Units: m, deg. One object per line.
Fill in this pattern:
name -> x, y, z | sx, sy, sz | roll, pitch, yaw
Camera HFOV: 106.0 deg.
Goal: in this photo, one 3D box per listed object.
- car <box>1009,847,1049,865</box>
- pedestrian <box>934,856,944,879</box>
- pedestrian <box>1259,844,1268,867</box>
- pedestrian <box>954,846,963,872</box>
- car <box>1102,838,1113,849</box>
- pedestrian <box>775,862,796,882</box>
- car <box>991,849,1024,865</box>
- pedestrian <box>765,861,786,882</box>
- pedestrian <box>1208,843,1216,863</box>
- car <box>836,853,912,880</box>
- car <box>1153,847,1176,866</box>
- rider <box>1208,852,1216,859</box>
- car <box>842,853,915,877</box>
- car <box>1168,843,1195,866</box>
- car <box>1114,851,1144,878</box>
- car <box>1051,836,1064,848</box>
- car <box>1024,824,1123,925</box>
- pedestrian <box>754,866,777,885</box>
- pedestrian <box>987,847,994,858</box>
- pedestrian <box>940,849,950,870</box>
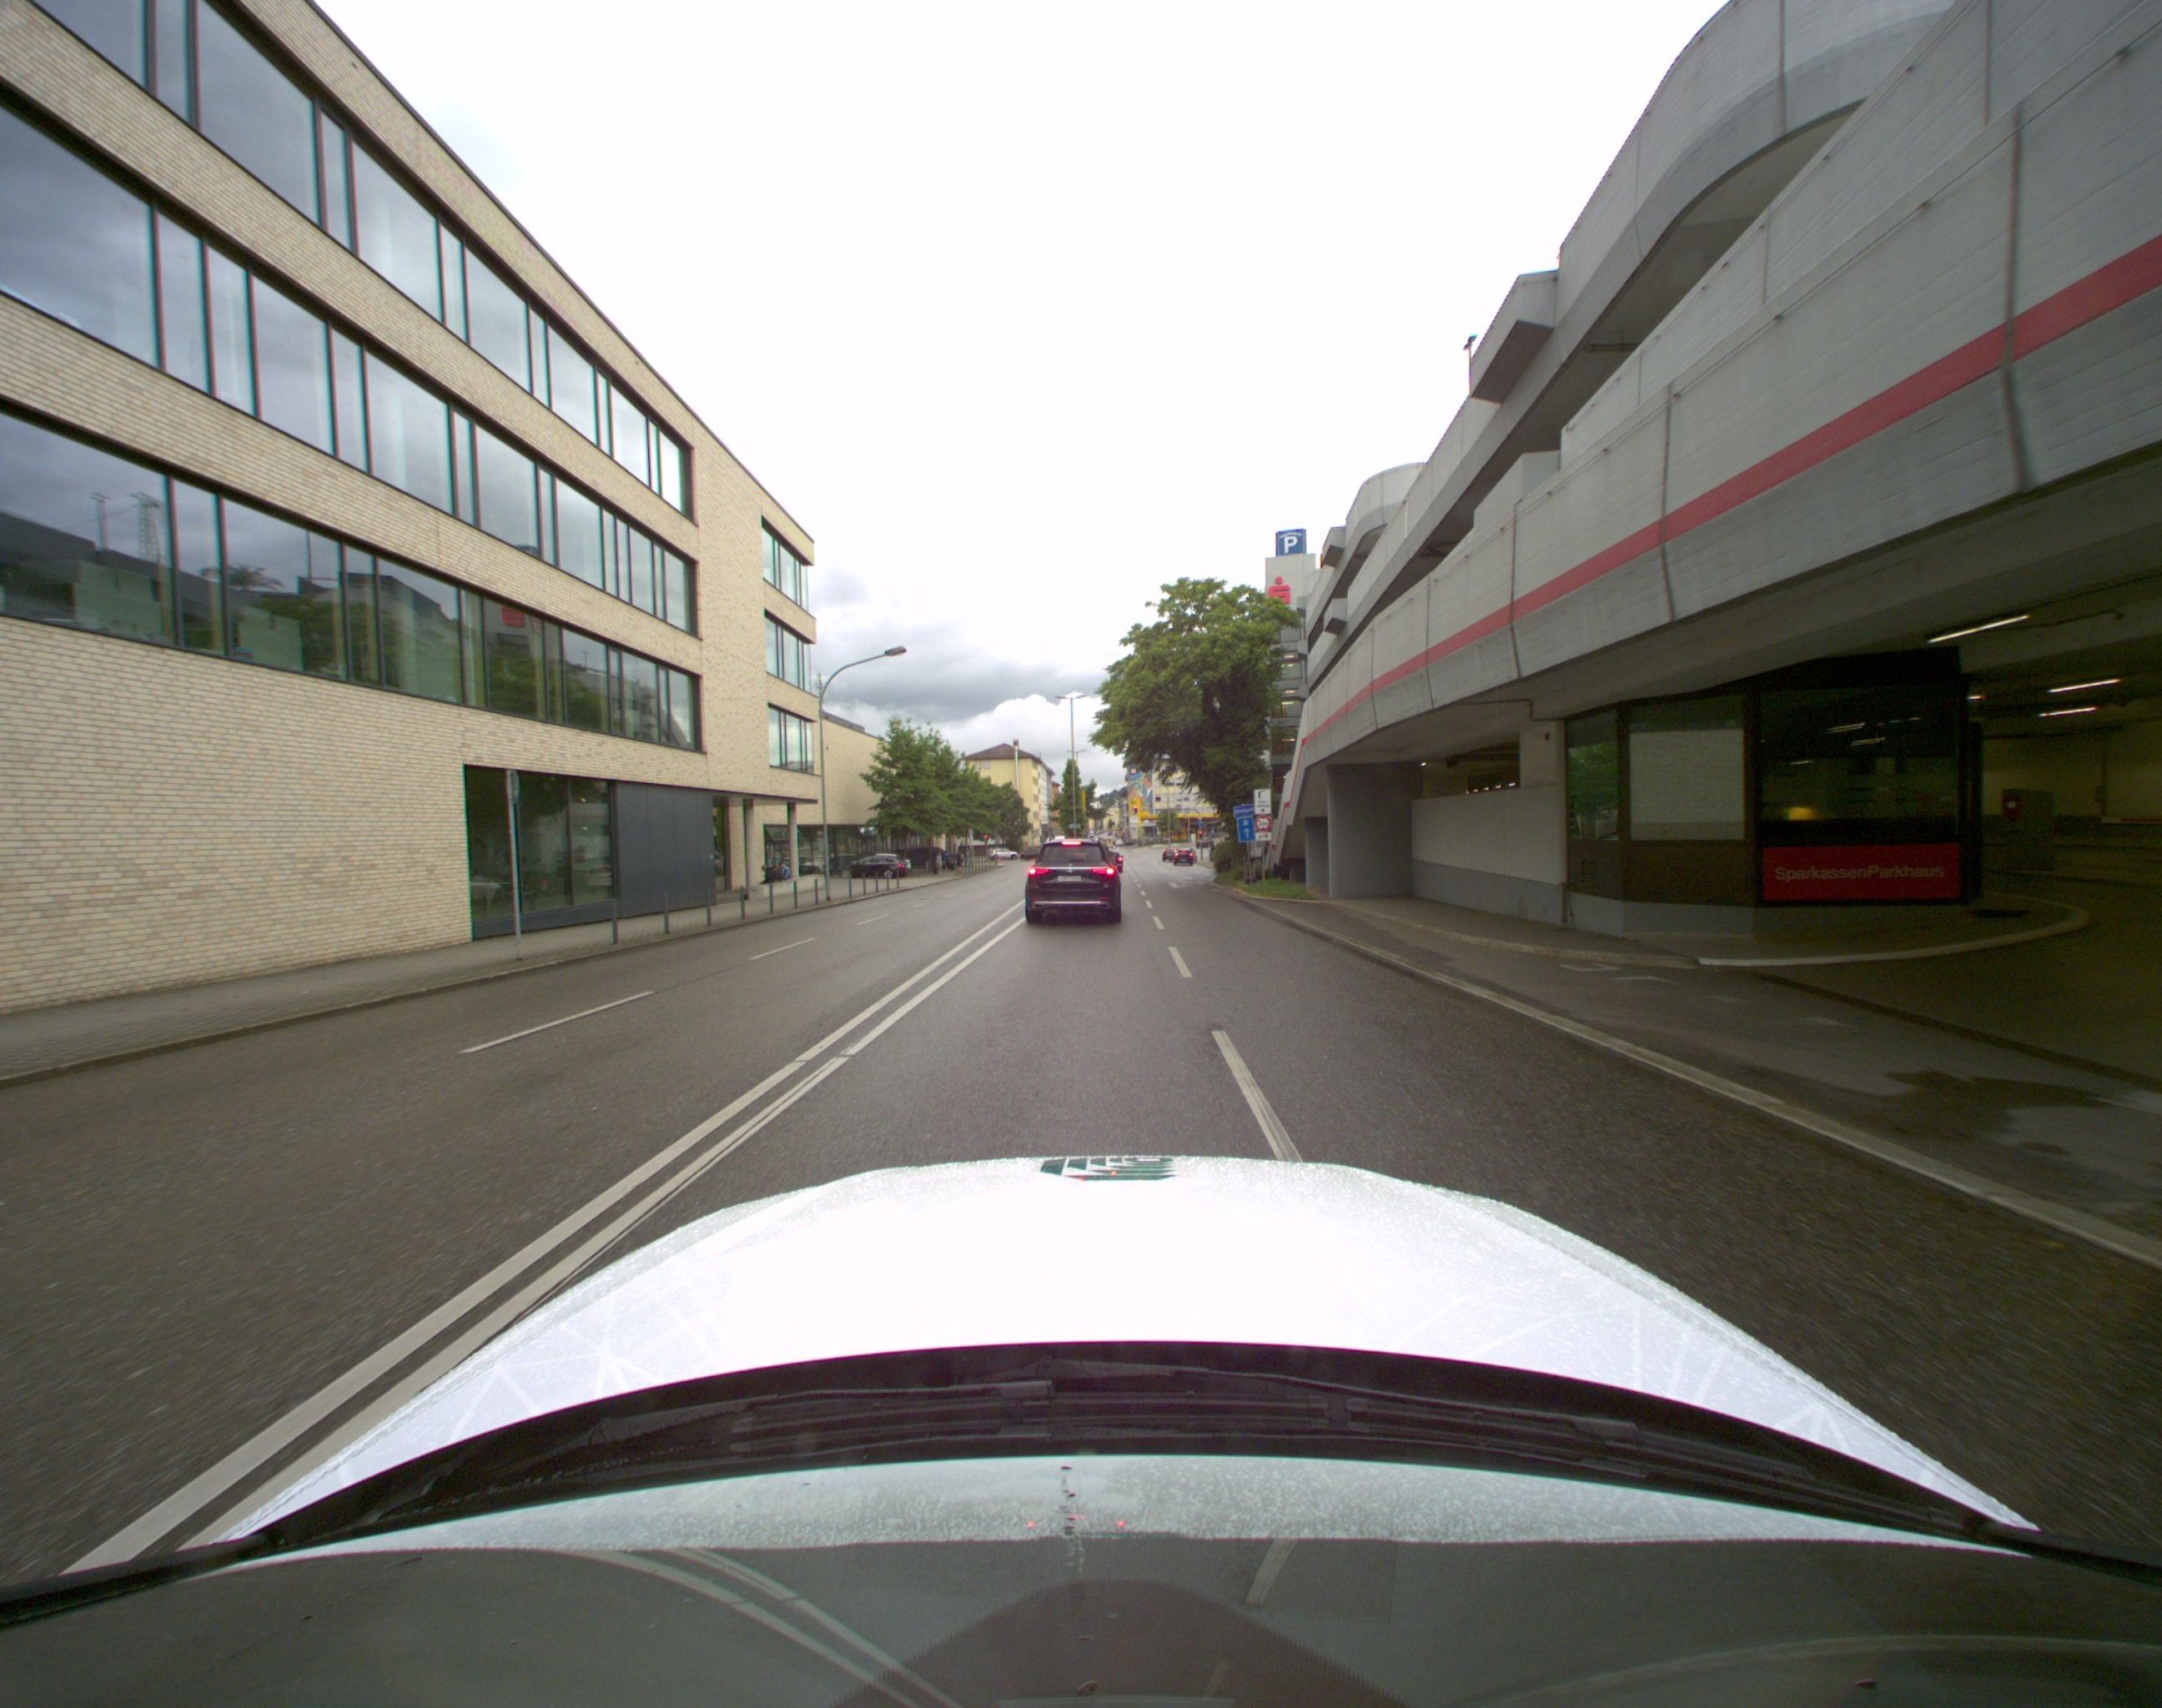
car -> -6.349, 0.264, 99.189 | 4.798, 2.013, 1.996 | -1, 1, -6
pedestrian -> -10.642, 1.005, 60.966 | 0.673, 1.697, 0.479 | 1, 0, 1
pedestrian -> 12.273, 0.096, 54.686 | 0.548, 1.532, 0.489 | 0, -1, 8
pedestrian -> -9.533, 0.405, 63.429 | 0.586, 2.014, 0.749 | 0, -1, 0
car -> 4.829, -1.922, 150.180 | 1.986, 2.013, 4.001 | 0, 1, 1
pedestrian -> -12.928, 0.781, 35.626 | 0.678, 0.886, 0.524 | 0, -1, 2
car -> -9.281, 0.332, 103.287 | 3.987, 1.942, 1.993 | -1, 0, -10
pedestrian -> -12.898, 0.736, 34.438 | 0.584, 0.845, 0.728 | -1, -1, 2
pedestrian -> 12.833, -0.090, 79.823 | 0.657, 1.917, 0.732 | 0, -1, 16
car -> -13.356, 0.792, 52.693 | 4.460, 1.587, 1.997 | -1, 0, -5
car -> 8.835, 0.256, 86.376 | 1.987, 2.014, 4.000 | 0, 0, 1
rider -> 12.814, 0.142, 79.812 | 0.625, 0.740, 0.699 | 0, -1, 18
car -> -13.578, 0.723, 54.843 | 4.406, 1.573, 1.998 | 0, 2, -3
car -> 9.114, 0.073, 74.177 | 1.987, 2.014, 3.999 | 0, -1, 0
car -> 3.128, 0.700, 53.317 | 1.698, 1.716, 3.442 | 0, 0, -1
car -> -3.912, -2.017, 138.495 | 1.987, 1.875, 5.142 | 0, 0, 0
car -> -0.115, 0.429, 18.373 | 1.986, 2.014, 4.000 | 0, 0, 1
pedestrian -> -13.005, 0.888, 33.564 | 0.595, 0.786, 0.760 | 0, -1, 2
pedestrian -> -11.721, -0.156, 105.566 | 0.709, 1.462, 0.598 | 0, -1, 1
pedestrian -> -11.273, 0.502, 67.501 | 0.686, 1.725, 0.754 | 0, -2, 1
